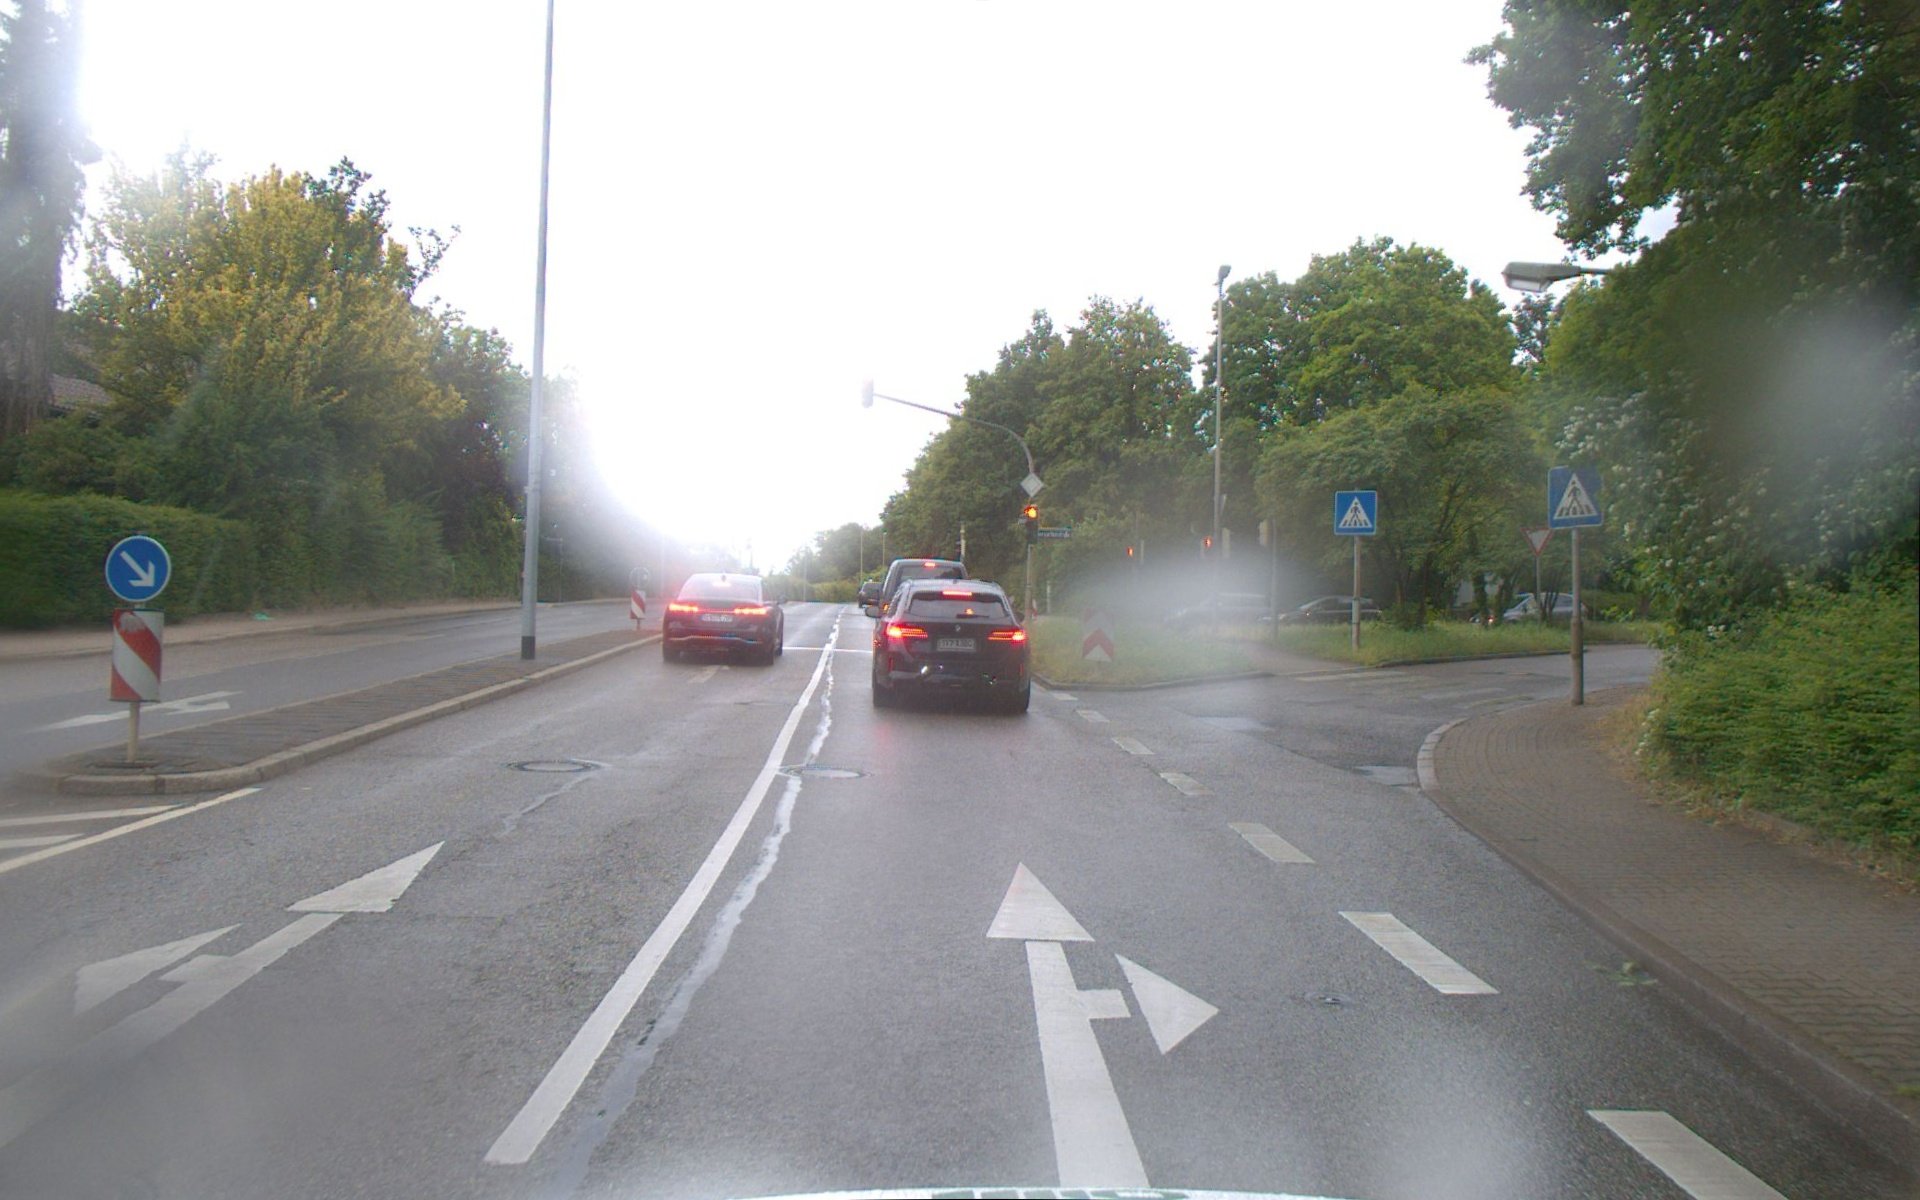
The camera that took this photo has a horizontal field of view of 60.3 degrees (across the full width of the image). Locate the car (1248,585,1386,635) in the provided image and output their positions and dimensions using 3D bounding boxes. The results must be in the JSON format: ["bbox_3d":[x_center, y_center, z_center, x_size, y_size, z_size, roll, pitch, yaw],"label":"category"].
[{"bbox_3d":[11.393,0.336,52.933,3.913,1.536,1.897,0,-3,-9],"label":"car"}]

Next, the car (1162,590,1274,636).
[{"bbox_3d":[8.746,0.441,56.184,3.435,1.452,1.700,-1,-2,-7],"label":"car"}]

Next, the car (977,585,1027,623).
[{"bbox_3d":[1.733,0.149,69.077,1.835,1.569,3.951,0,0,-2],"label":"car"}]

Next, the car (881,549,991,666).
[{"bbox_3d":[-0.466,0.117,29.884,1.781,1.901,3.951,2,0,-2],"label":"car"}]

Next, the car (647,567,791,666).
[{"bbox_3d":[-4.001,0.242,28.135,1.953,1.554,4.326,0,0,-2],"label":"car"}]

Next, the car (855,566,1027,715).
[{"bbox_3d":[-0.175,0.472,20.795,1.859,1.578,4.615,3,0,1],"label":"car"}]

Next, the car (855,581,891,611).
[{"bbox_3d":[-4.915,-0.209,93.443,1.953,1.652,3.951,0,0,-2],"label":"car"}]
